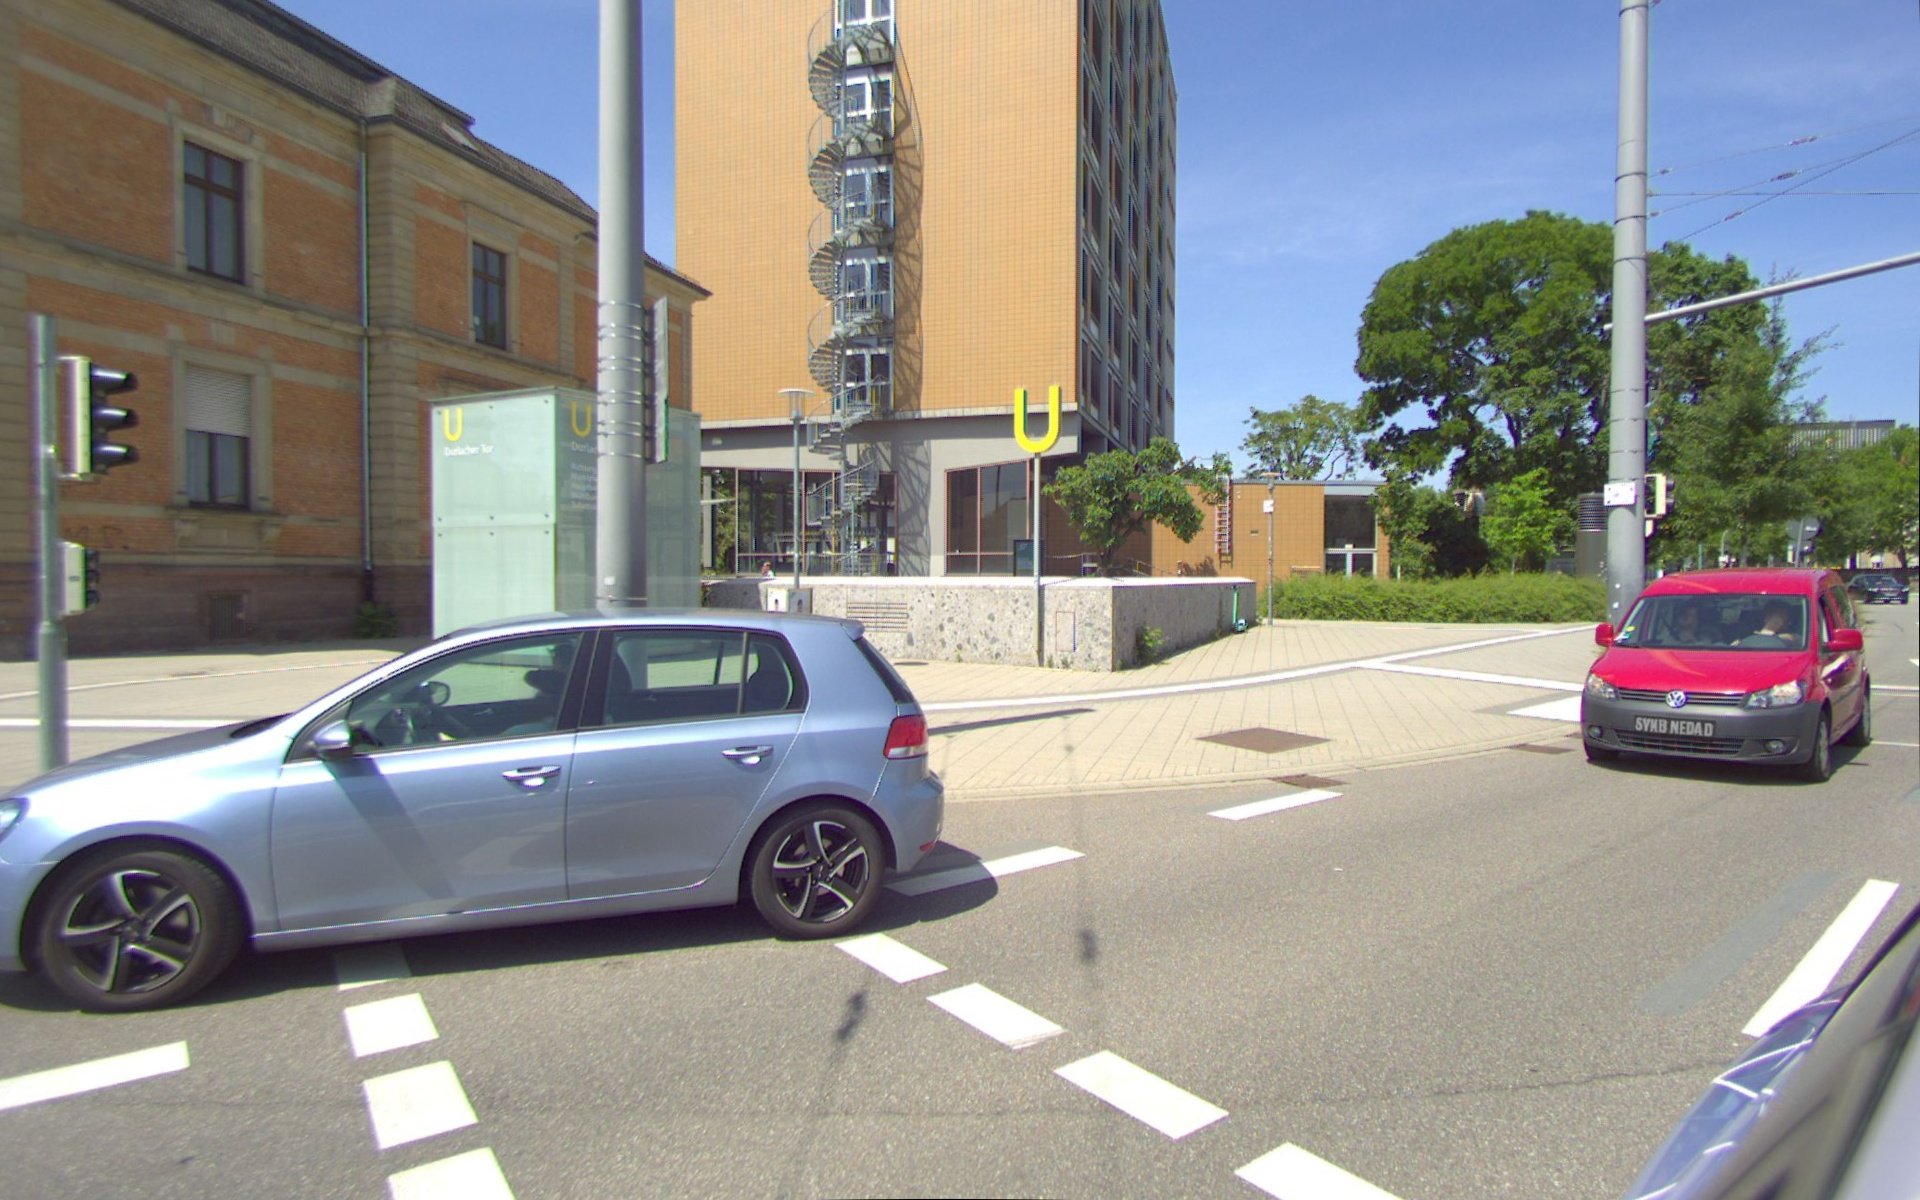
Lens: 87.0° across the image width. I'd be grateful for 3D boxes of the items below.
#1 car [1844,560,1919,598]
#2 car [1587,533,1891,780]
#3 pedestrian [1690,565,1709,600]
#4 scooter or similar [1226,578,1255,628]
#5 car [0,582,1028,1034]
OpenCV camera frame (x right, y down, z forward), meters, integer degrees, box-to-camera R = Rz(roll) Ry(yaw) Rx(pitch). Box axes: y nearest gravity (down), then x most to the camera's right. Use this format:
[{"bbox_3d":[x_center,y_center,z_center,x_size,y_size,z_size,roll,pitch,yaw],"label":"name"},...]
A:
[{"bbox_3d":[51.849,-1.209,57.021,1.979,2.038,3.967,0,2,25],"label":"car"},{"bbox_3d":[7.733,0.371,9.863,4.470,1.882,1.653,-2,1,-43],"label":"car"},{"bbox_3d":[39.396,-0.938,53.922,0.603,1.820,0.728,-1,1,-42],"label":"pedestrian"},{"bbox_3d":[6.804,0.056,24.506,0.454,1.185,1.239,0,1,27],"label":"scooter or similar"},{"bbox_3d":[-1.822,0.704,4.853,3.919,1.477,1.660,-2,0,-18],"label":"car"}]
